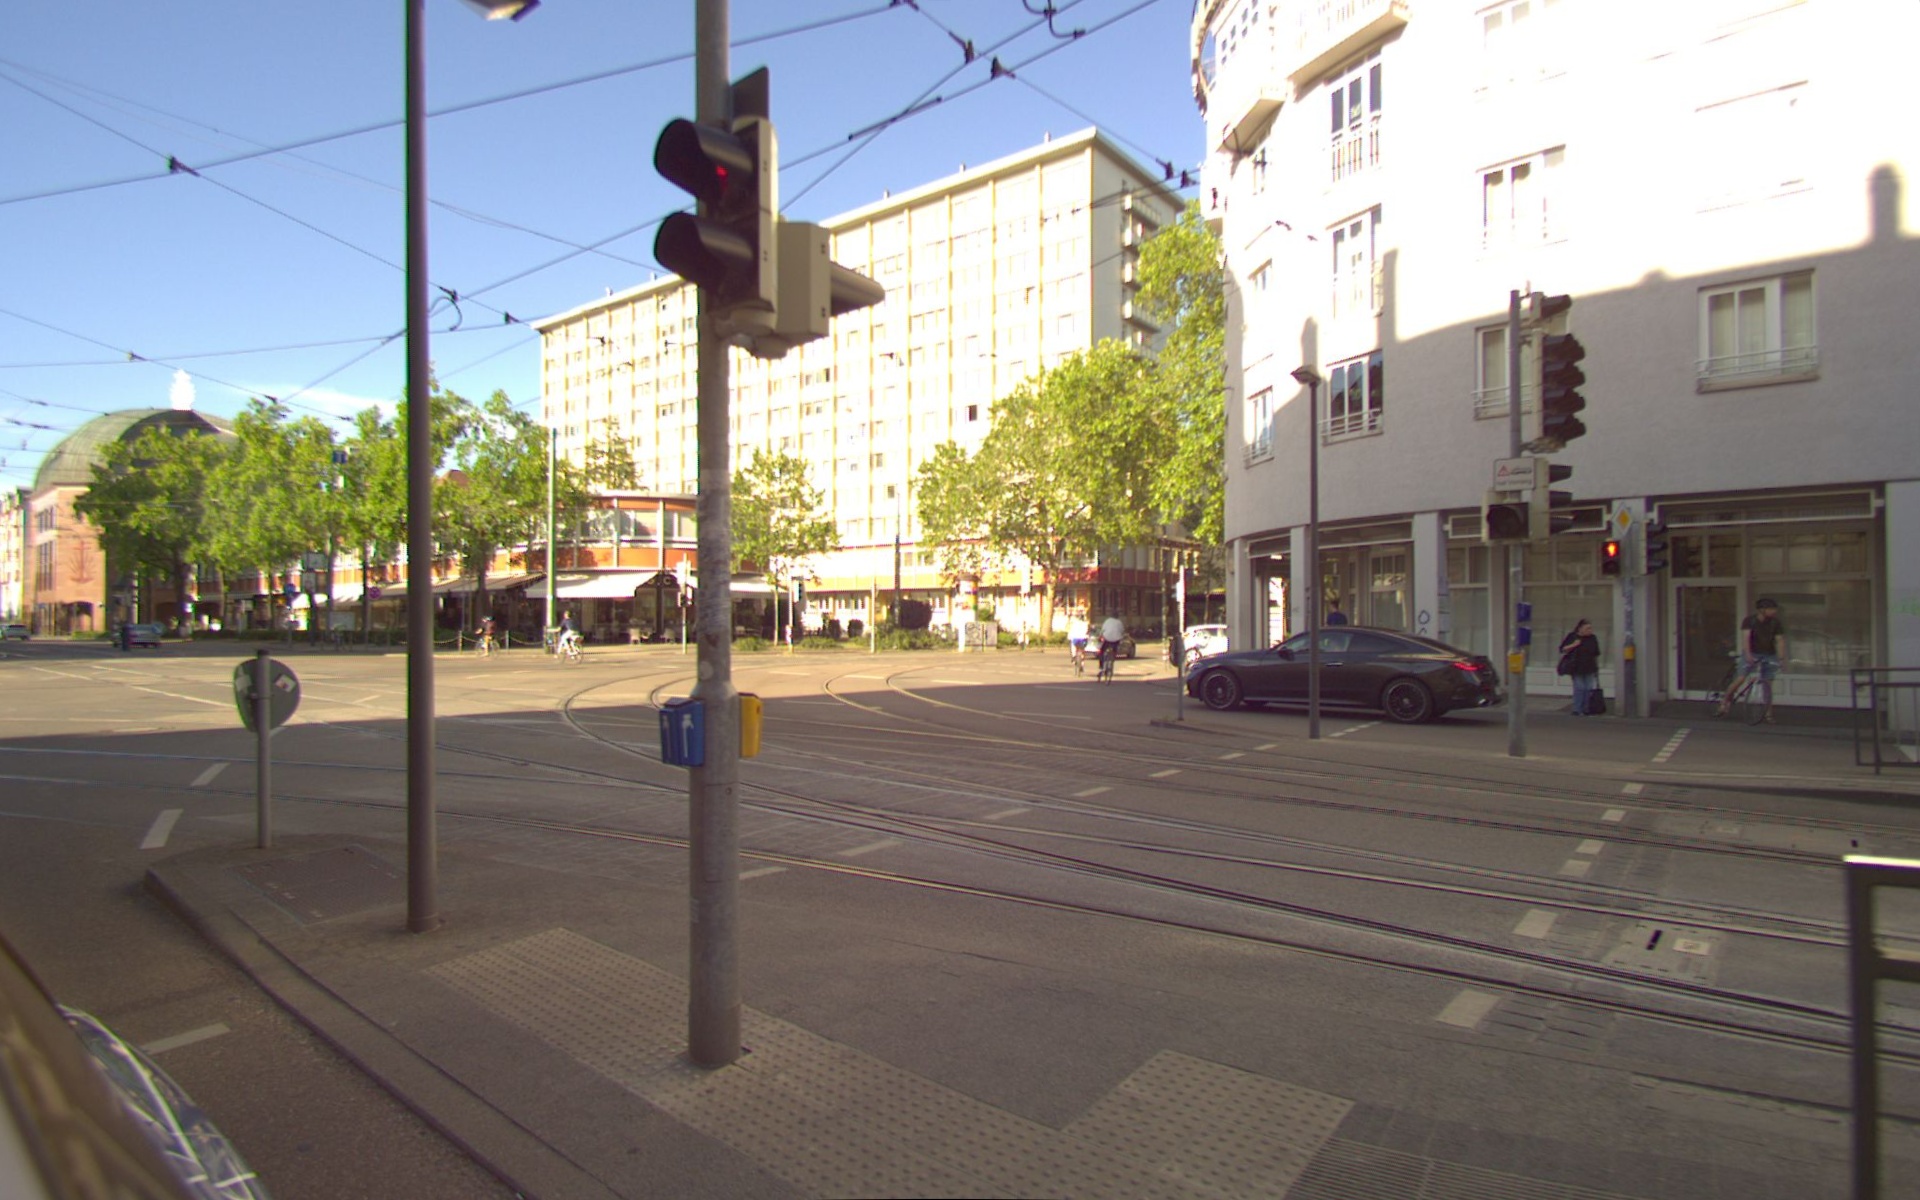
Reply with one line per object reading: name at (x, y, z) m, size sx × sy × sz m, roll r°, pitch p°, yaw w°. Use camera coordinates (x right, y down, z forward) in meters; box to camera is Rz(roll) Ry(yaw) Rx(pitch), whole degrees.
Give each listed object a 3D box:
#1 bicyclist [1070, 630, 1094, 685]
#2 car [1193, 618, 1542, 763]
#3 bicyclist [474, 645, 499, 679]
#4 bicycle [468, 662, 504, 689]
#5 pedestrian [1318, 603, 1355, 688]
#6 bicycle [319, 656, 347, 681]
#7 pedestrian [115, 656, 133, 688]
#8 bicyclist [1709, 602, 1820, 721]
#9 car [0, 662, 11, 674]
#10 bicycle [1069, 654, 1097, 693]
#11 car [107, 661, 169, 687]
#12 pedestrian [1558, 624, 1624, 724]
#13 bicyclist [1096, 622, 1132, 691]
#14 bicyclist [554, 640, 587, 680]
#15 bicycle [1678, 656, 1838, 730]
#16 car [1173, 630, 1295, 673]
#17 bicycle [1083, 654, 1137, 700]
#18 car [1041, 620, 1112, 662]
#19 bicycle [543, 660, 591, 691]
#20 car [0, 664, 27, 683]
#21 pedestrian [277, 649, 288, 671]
bicyclist at (3.425, 1.604, 28.526) m, size 0.582 × 1.499 × 0.927 m, roll 0°, pitch -1°, yaw 1°
car at (6.280, 1.279, 15.877) m, size 4.605 × 1.925 × 2.204 m, roll -2°, pitch -2°, yaw 40°
bicyclist at (-18.833, 2.444, 40.225) m, size 0.926 × 1.295 × 0.582 m, roll -1°, pitch -2°, yaw 42°
bicycle at (-18.818, 2.985, 40.168) m, size 1.817 × 0.980 × 0.587 m, roll -1°, pitch -2°, yaw 42°
pedestrian at (8.494, 1.023, 22.823) m, size 0.455 × 1.847 × 0.746 m, roll -2°, pitch -2°, yaw 0°
bicycle at (-31.009, 3.352, 50.010) m, size 2.233 × 1.195 × 0.492 m, roll -2°, pitch -3°, yaw 40°
pedestrian at (-40.853, 3.514, 49.450) m, size 0.858 × 1.529 × 0.494 m, roll -2°, pitch -4°, yaw 41°
bicyclist at (11.975, 0.893, 15.092) m, size 0.711 × 1.708 × 1.032 m, roll 0°, pitch -2°, yaw -21°
car at (-118.122, 8.378, 124.383) m, size 3.851 × 1.465 × 1.832 m, roll -2°, pitch -2°, yaw 41°
bicycle at (3.444, 2.038, 28.420) m, size 0.587 × 0.980 × 2.011 m, roll 0°, pitch -1°, yaw 1°
car at (-49.272, 4.403, 60.637) m, size 4.645 × 1.462 × 1.974 m, roll -2°, pitch -2°, yaw 39°
pedestrian at (10.014, 1.168, 16.063) m, size 0.675 × 1.546 × 0.442 m, roll -2°, pitch -2°, yaw 4°
bicyclist at (3.674, 1.331, 24.201) m, size 0.580 × 1.597 × 0.898 m, roll 0°, pitch -1°, yaw -12°
bicyclist at (-13.179, 2.029, 34.272) m, size 0.990 × 1.295 × 0.583 m, roll -1°, pitch -2°, yaw 36°
bicycle at (11.894, 1.355, 15.155) m, size 0.666 × 0.987 × 1.767 m, roll 0°, pitch -2°, yaw -22°
car at (10.189, 1.921, 37.689) m, size 4.082 × 1.414 × 1.787 m, roll -4°, pitch -3°, yaw 27°
bicycle at (3.569, 1.816, 24.228) m, size 0.586 × 0.980 × 2.052 m, roll 0°, pitch -1°, yaw -12°
car at (4.784, 1.609, 41.036) m, size 1.985 × 1.608 × 3.972 m, roll 0°, pitch -1°, yaw 21°
bicycle at (-13.383, 2.564, 34.414) m, size 1.850 × 0.980 × 0.589 m, roll -1°, pitch -2°, yaw 35°
car at (-82.523, 6.361, 87.603) m, size 4.497 × 1.462 × 1.974 m, roll -2°, pitch -2°, yaw 39°
pedestrian at (-54.832, 4.873, 81.866) m, size 0.706 × 1.785 × 0.566 m, roll -2°, pitch -3°, yaw 42°
